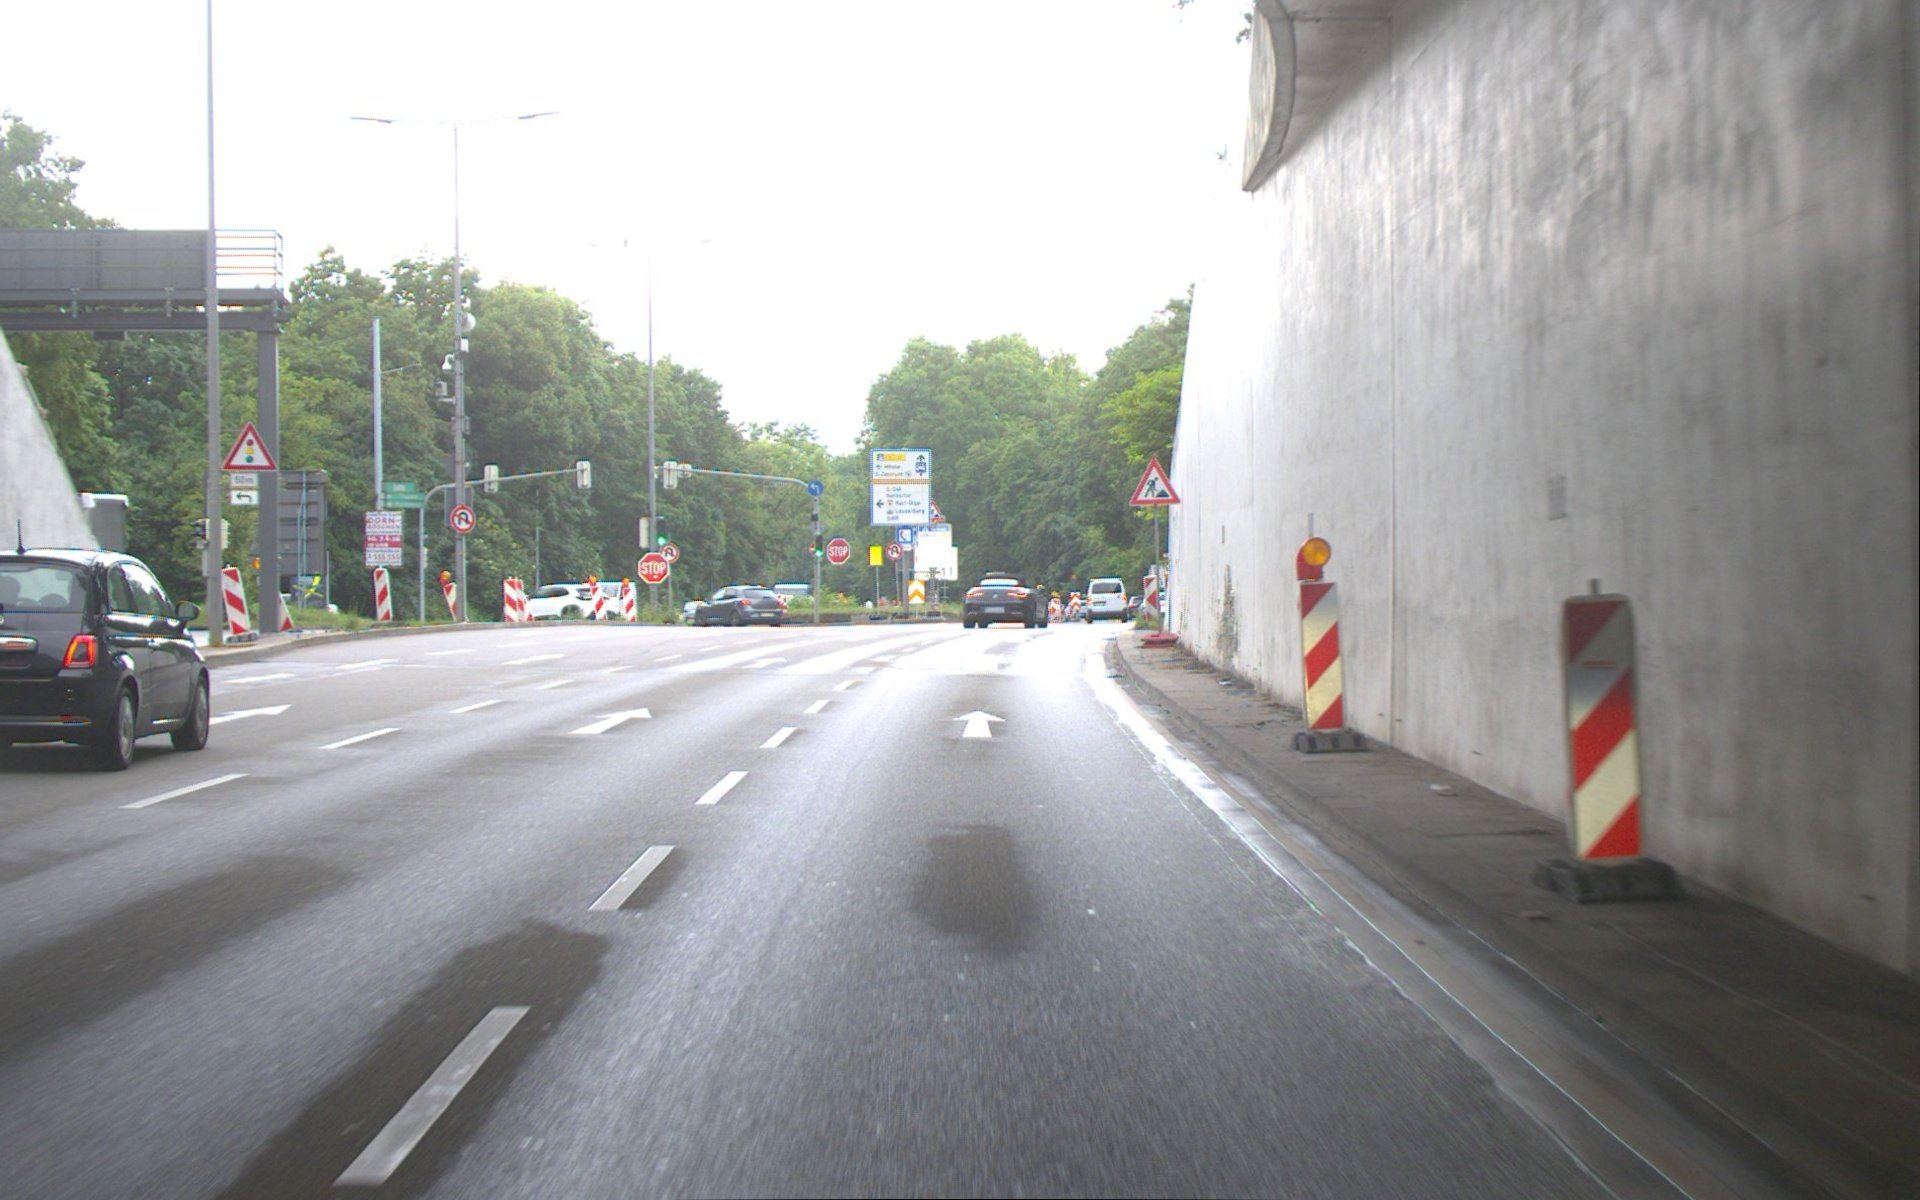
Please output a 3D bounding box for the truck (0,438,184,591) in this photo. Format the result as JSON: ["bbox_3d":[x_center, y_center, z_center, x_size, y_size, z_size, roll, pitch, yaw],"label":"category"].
[{"bbox_3d":[-20.202,-1.918,78.951,2.797,3.265,7.146,2,1,2],"label":"truck"}]

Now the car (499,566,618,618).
[{"bbox_3d":[-14.251,-0.290,122.052,3.996,1.678,1.893,3,1,38],"label":"car"}]

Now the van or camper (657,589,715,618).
[{"bbox_3d":[-13.335,0.191,167.565,2.010,1.297,4.090,2,-1,7],"label":"van or camper"}]

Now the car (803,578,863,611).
[{"bbox_3d":[-5.621,-0.244,152.834,2.010,1.297,4.314,2,-1,7],"label":"car"}]

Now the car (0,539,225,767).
[{"bbox_3d":[-6.289,0.309,23.939,1.612,1.449,3.573,0,1,-1],"label":"car"}]

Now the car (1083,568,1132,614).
[{"bbox_3d":[6.874,-0.416,160.685,1.993,2.007,4.000,3,0,-1],"label":"car"}]

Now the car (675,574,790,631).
[{"bbox_3d":[-7.639,0.081,115.175,1.892,1.678,3.999,3,0,-37],"label":"car"}]

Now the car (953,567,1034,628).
[{"bbox_3d":[0.856,-0.046,89.958,1.993,1.443,4.314,2,-1,0],"label":"car"}]
